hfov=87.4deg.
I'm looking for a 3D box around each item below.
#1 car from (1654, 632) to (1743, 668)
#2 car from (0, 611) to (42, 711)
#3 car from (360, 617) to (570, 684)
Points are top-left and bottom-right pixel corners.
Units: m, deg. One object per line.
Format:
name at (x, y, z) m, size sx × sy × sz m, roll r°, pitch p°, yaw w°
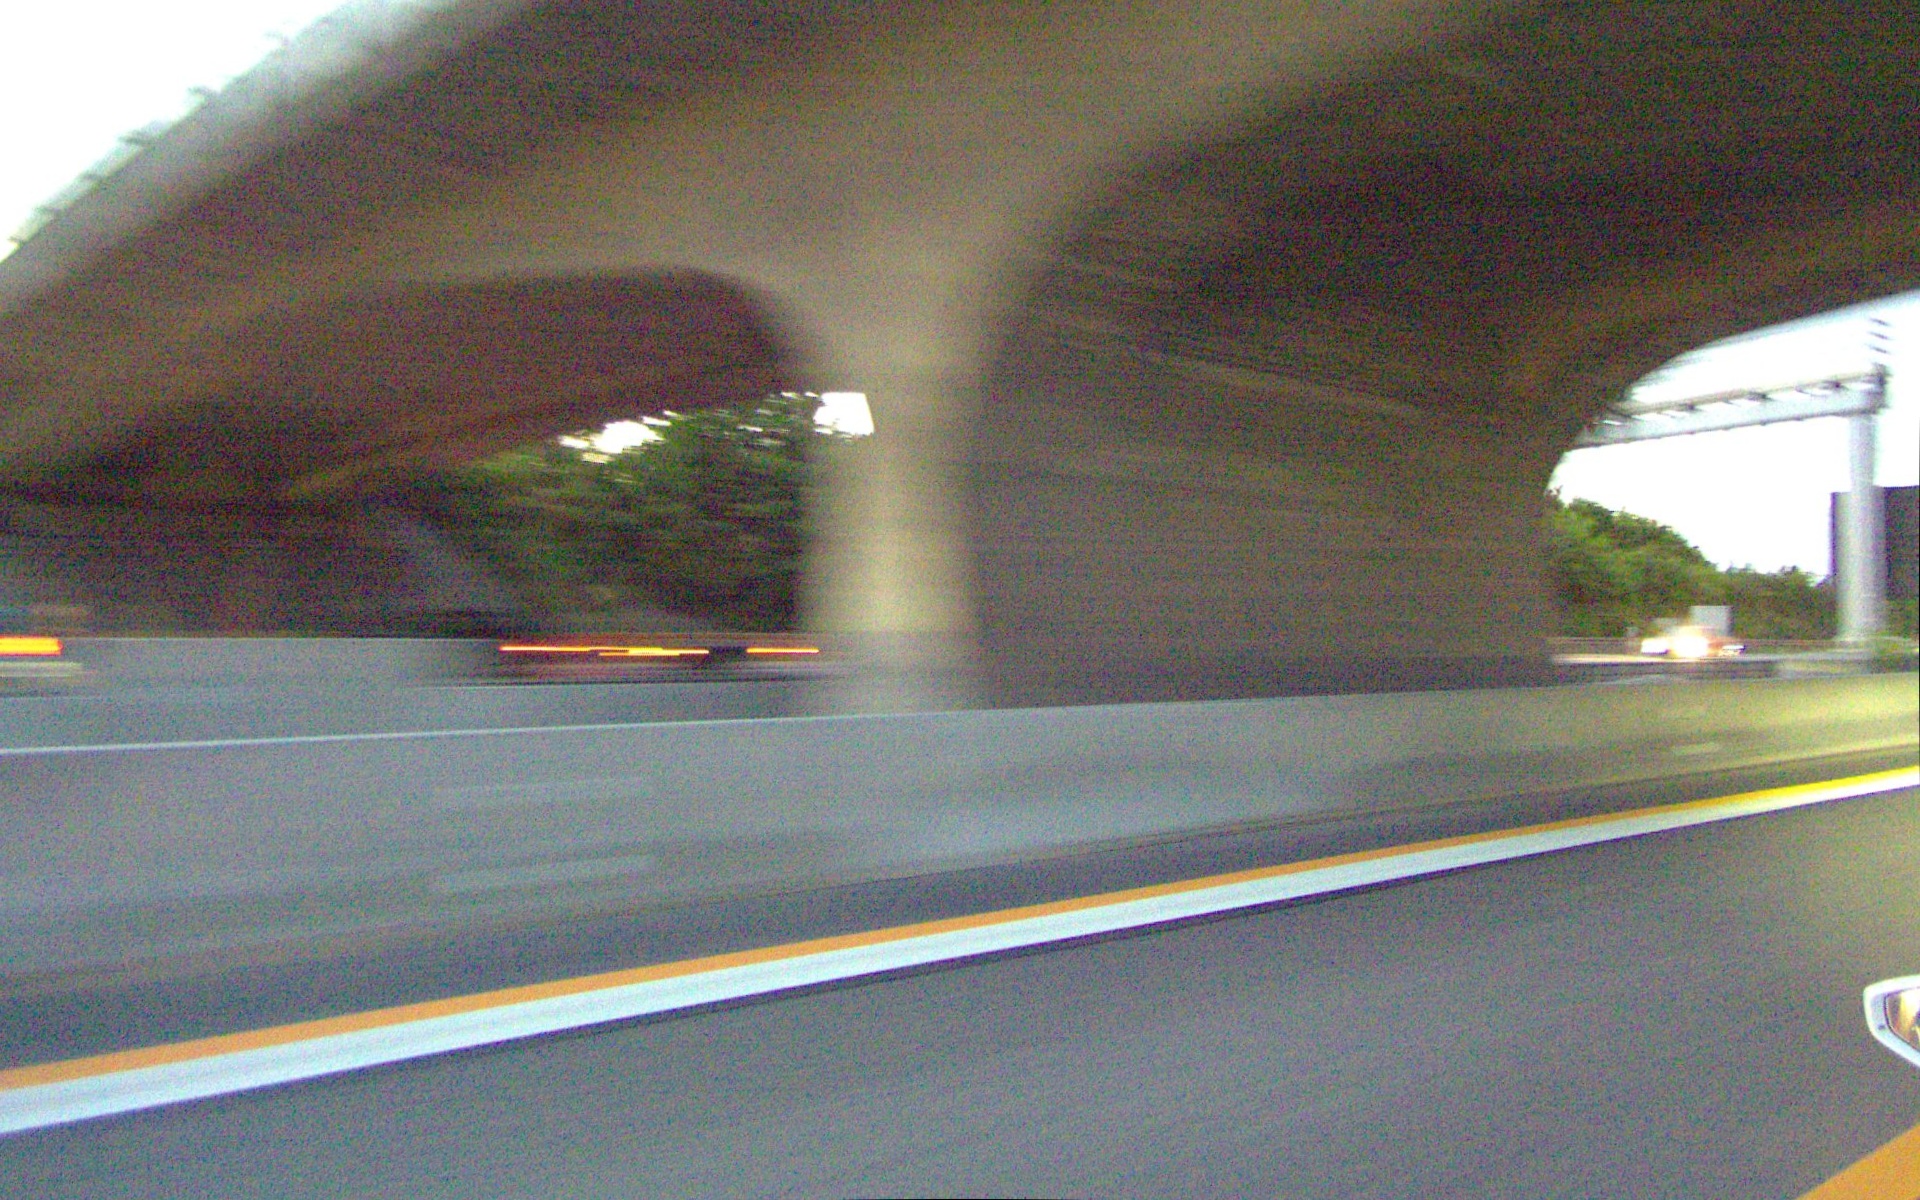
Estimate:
car at (33.159, 2.250, 45.117) m, size 3.881 × 1.475 × 1.696 m, roll 2°, pitch 1°, yaw -28°
car at (-16.023, 0.867, 14.705) m, size 3.478 × 1.425 × 1.619 m, roll 2°, pitch 1°, yaw -30°
car at (-10.792, 1.058, 21.965) m, size 3.955 × 1.340 × 1.983 m, roll 1°, pitch -1°, yaw -31°
